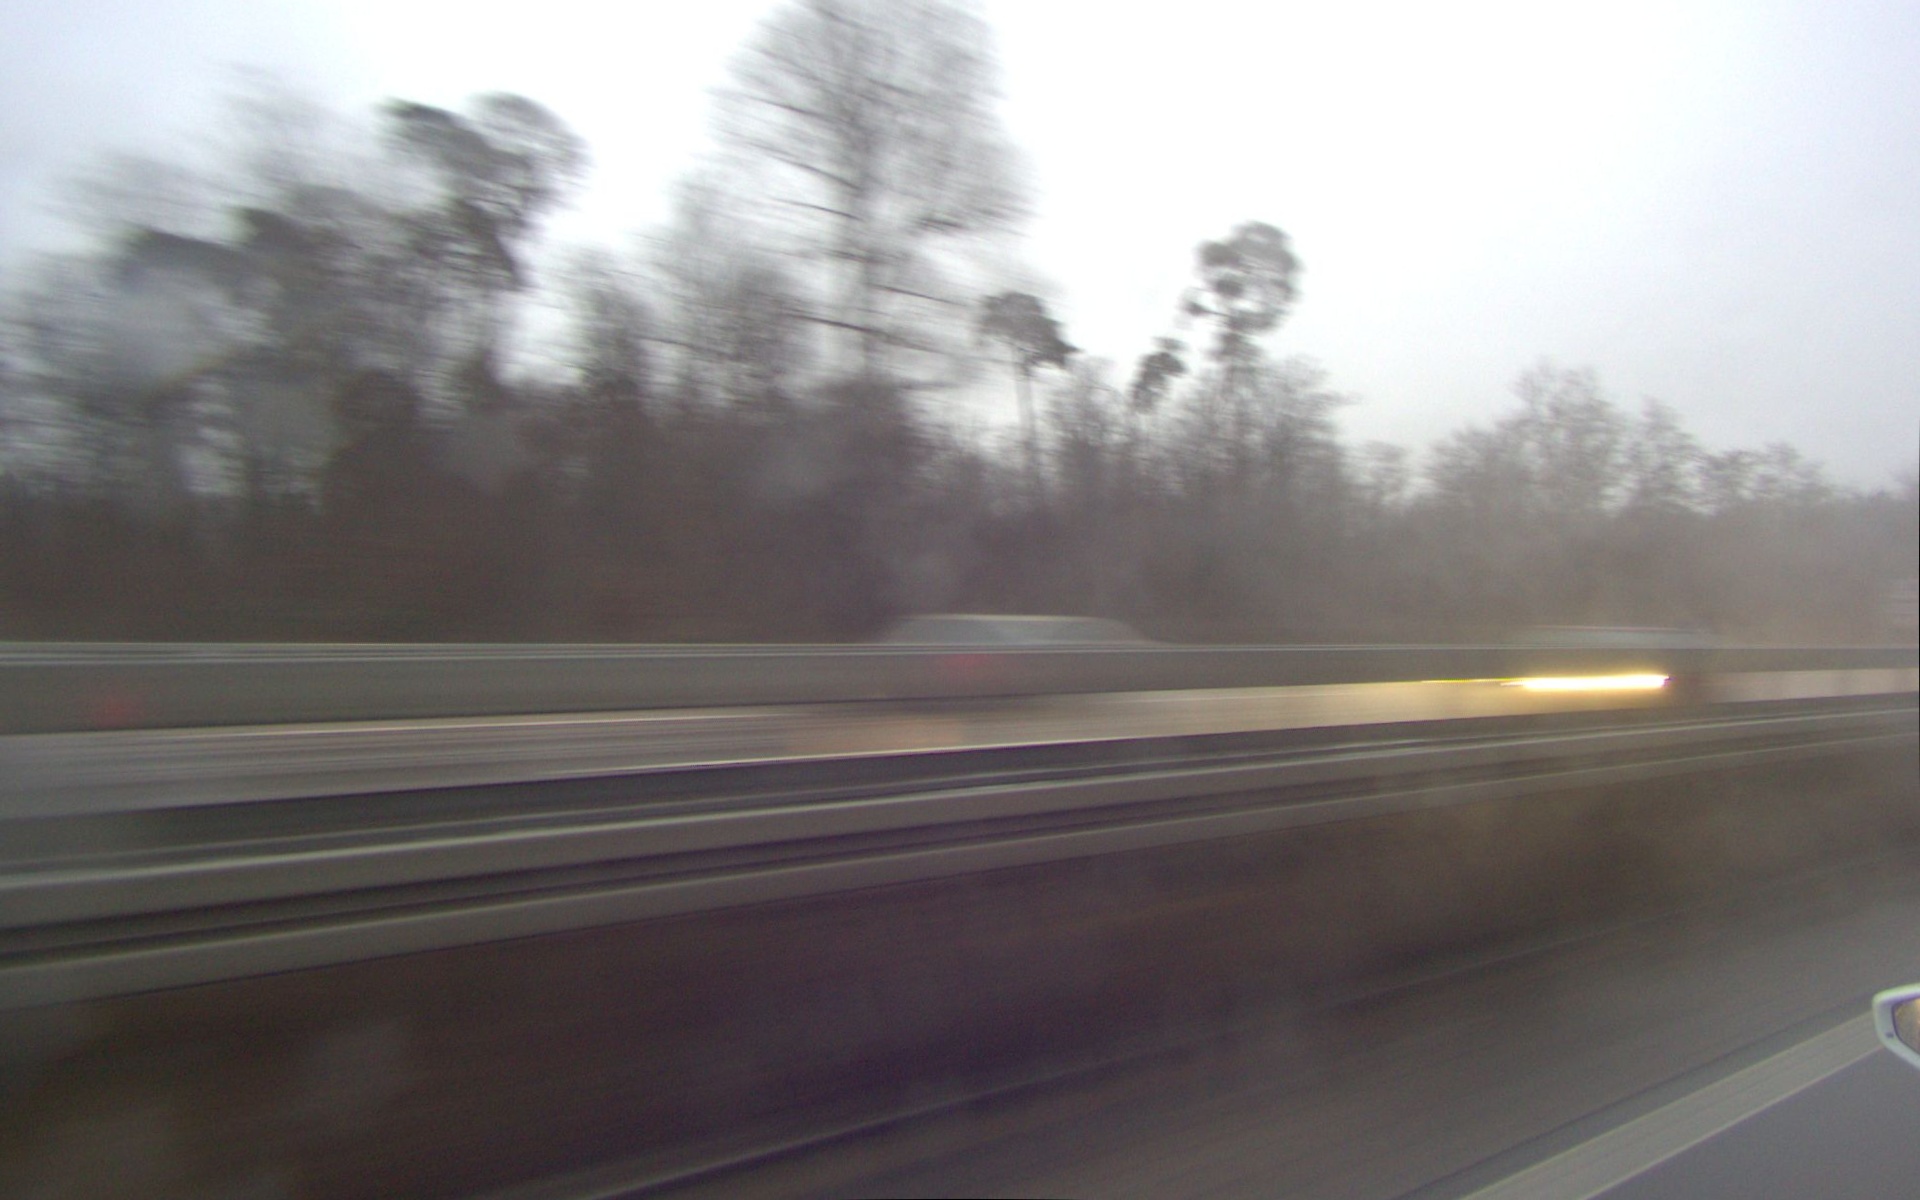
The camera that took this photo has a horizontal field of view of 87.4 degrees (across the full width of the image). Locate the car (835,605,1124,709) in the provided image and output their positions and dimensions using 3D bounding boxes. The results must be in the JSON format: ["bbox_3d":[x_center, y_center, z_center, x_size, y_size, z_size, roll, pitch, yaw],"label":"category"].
[{"bbox_3d":[0.339,0.816,15.277,4.108,1.369,1.696,1,0,-30],"label":"car"}]
